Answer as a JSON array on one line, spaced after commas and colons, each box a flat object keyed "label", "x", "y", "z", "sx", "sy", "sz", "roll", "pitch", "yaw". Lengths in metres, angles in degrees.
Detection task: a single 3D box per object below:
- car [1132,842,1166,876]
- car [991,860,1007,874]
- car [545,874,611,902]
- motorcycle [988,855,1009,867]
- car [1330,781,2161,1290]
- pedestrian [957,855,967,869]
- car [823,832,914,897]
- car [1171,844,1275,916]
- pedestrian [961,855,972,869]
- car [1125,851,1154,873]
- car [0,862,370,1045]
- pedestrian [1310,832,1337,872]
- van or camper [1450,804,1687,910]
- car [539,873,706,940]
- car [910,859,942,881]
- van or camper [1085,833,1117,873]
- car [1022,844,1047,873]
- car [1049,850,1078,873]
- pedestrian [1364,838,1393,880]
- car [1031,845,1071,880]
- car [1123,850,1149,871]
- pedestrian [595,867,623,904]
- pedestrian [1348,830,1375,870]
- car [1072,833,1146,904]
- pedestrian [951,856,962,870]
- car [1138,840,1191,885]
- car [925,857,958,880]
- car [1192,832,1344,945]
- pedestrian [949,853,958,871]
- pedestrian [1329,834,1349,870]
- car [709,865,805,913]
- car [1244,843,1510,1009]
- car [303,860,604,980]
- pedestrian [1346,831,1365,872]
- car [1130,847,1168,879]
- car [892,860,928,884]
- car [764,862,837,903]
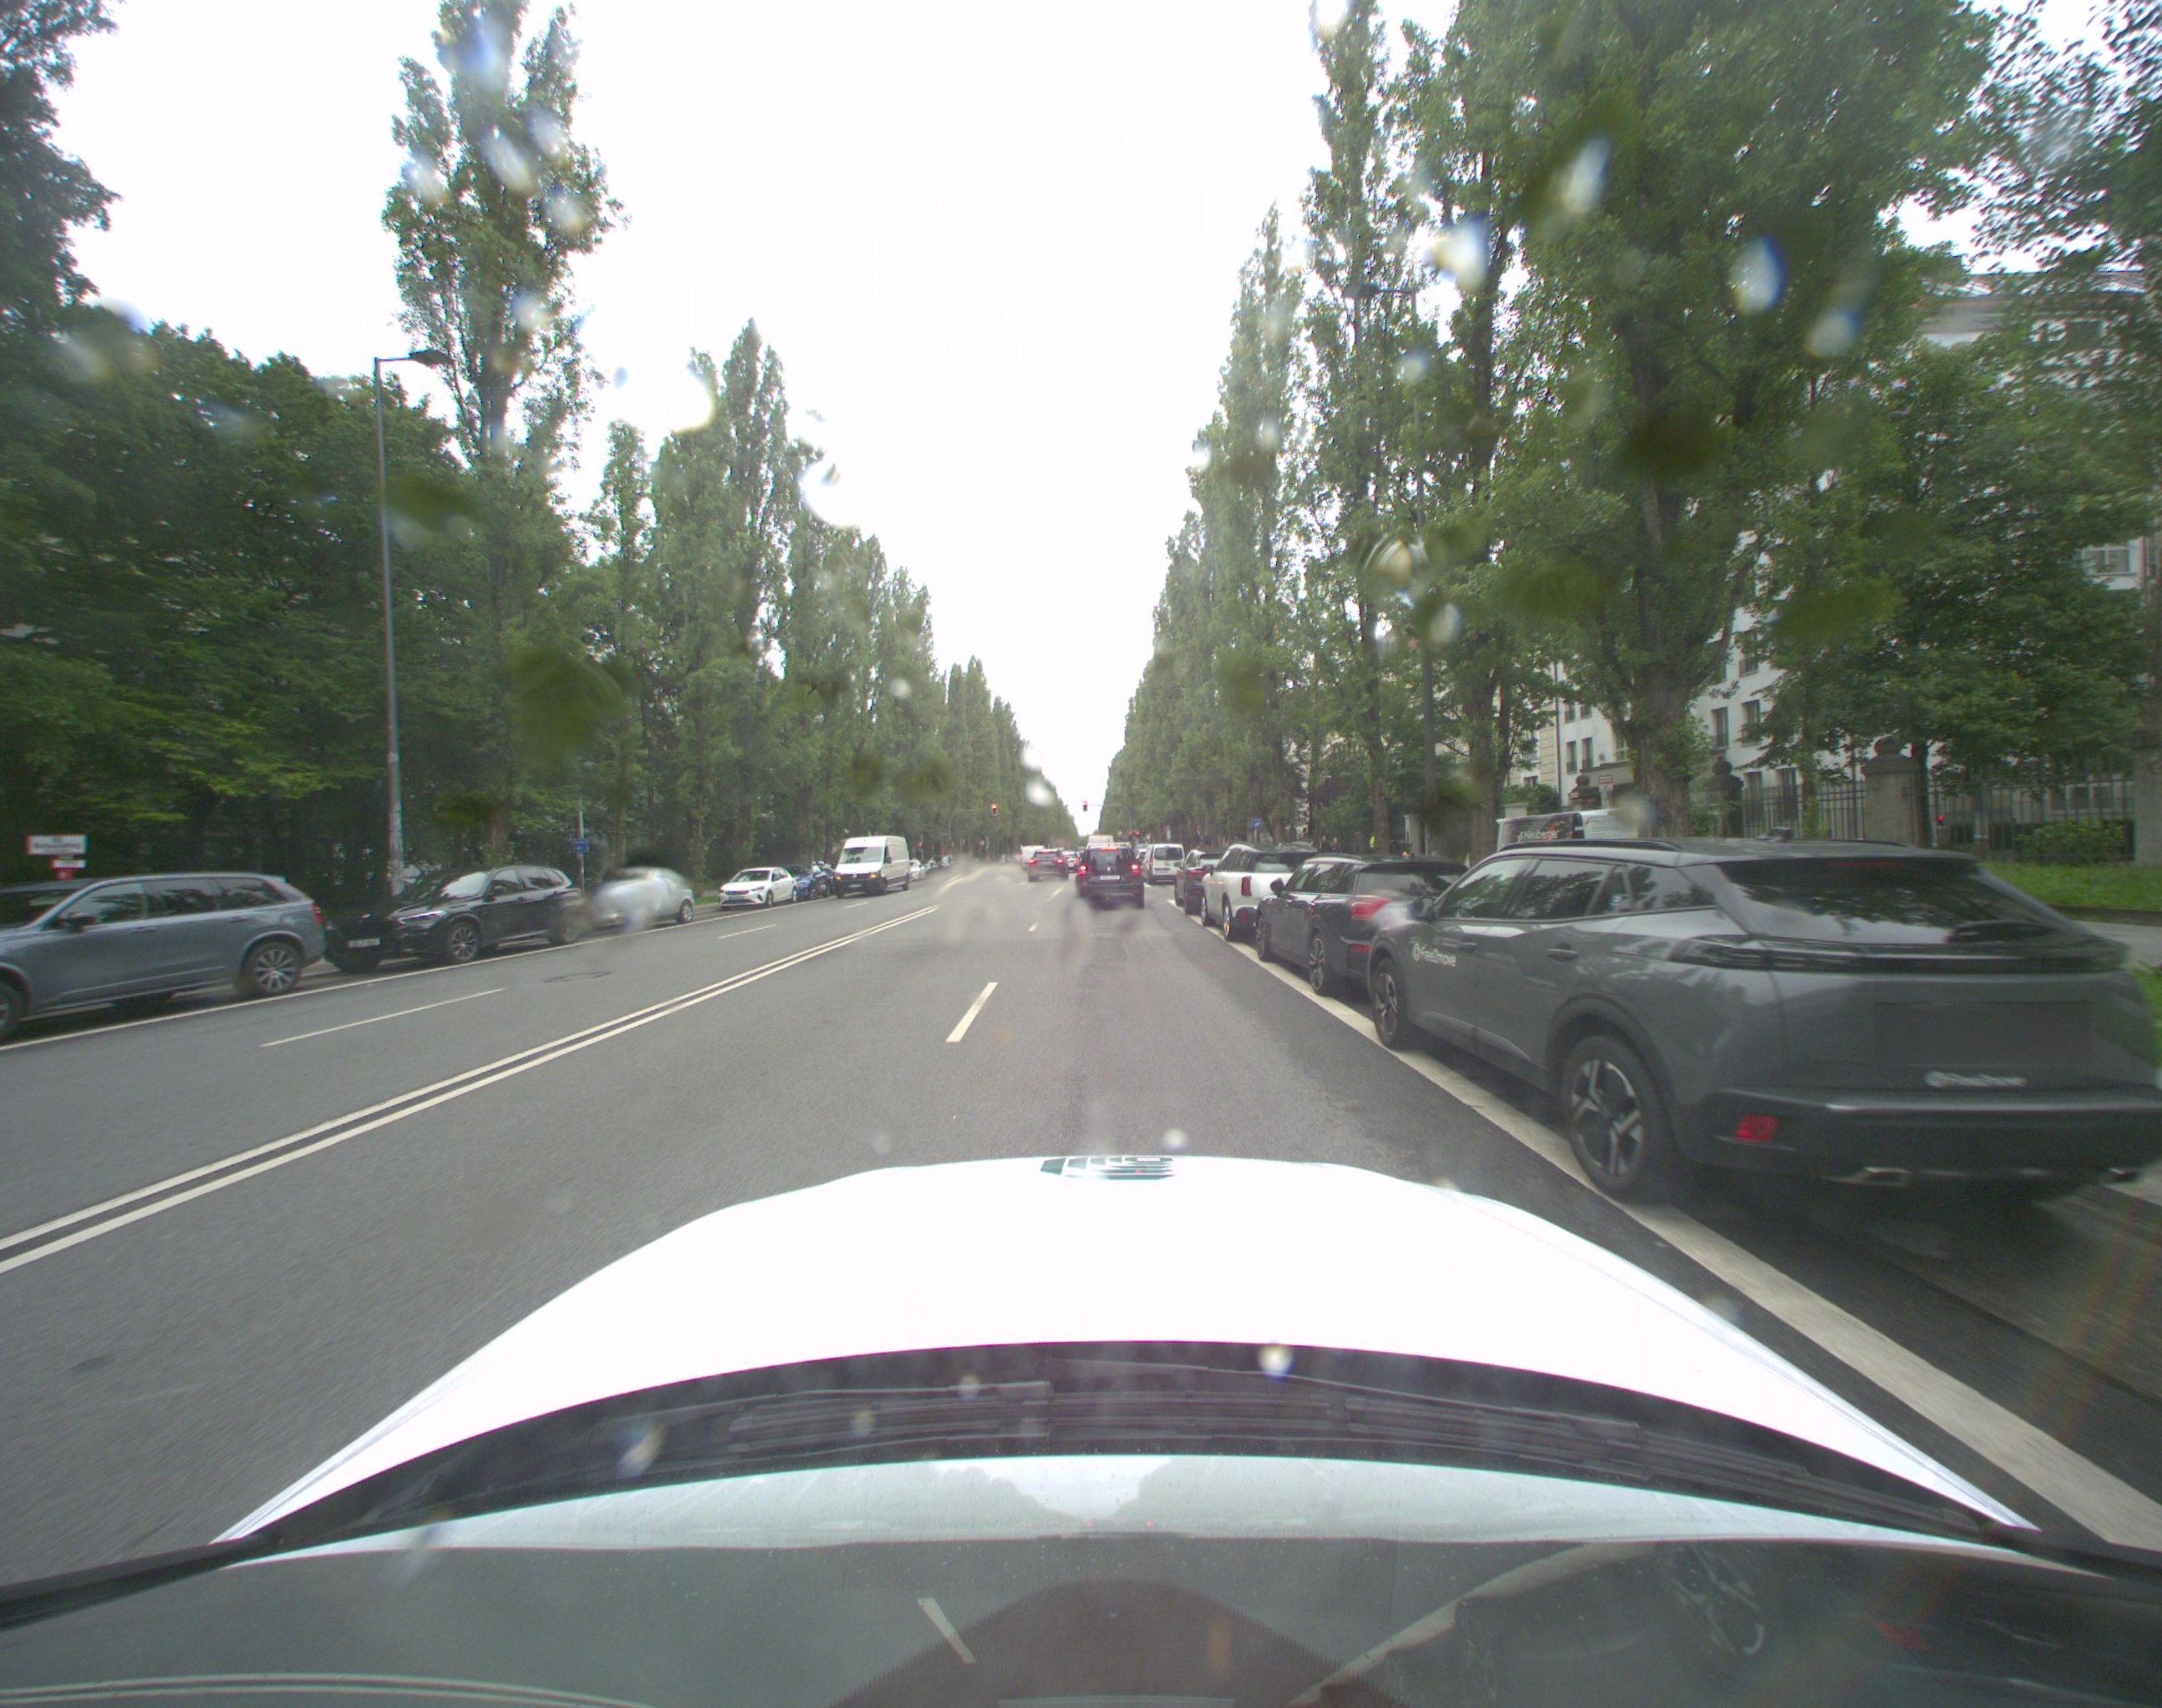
[{"label": "car", "x": 4.094, "y": 0.264, "z": 49.561, "sx": 1.729, "sy": 1.895, "sz": 4.025, "roll": -2, "pitch": 0, "yaw": 1}, {"label": "car", "x": -10.725, "y": 1.702, "z": 106.610, "sx": 1.682, "sy": 1.783, "sz": 3.776, "roll": -2, "pitch": 0, "yaw": 1}, {"label": "car", "x": -35.263, "y": 2.356, "z": 57.198, "sx": 1.986, "sy": 1.772, "sz": 4.002, "roll": -2, "pitch": 0, "yaw": 2}, {"label": "motorcycle", "x": -10.009, "y": 0.852, "z": 98.549, "sx": 2.355, "sy": 1.269, "sz": 0.930, "roll": -2, "pitch": 0, "yaw": 1}, {"label": "car", "x": 3.108, "y": 0.565, "z": 4.981, "sx": 1.777, "sy": 1.618, "sz": 4.638, "roll": -2, "pitch": 0, "yaw": 1}, {"label": "pedestrian", "x": -14.353, "y": 0.960, "z": 98.118, "sx": 0.887, "sy": 1.655, "sz": 0.868, "roll": -2, "pitch": 0, "yaw": -37}, {"label": "car", "x": -9.217, "y": 0.407, "z": 36.090, "sx": 2.221, "sy": 2.483, "sz": 6.755, "roll": -4, "pitch": 0, "yaw": -1}, {"label": "car", "x": 3.385, "y": 0.551, "z": 20.184, "sx": 1.873, "sy": 1.540, "sz": 4.466, "roll": -2, "pitch": 0, "yaw": 2}, {"label": "pedestrian", "x": -13.731, "y": 0.943, "z": 97.480, "sx": 0.887, "sy": 1.655, "sz": 0.868, "roll": -2, "pitch": 0, "yaw": -37}, {"label": "car", "x": 3.971, "y": 0.527, "z": 55.433, "sx": 1.729, "sy": 1.387, "sz": 3.563, "roll": -2, "pitch": 0, "yaw": 1}, {"label": "car", "x": -11.936, "y": 1.108, "z": 9.879, "sx": 1.903, "sy": 1.789, "sz": 5.180, "roll": -5, "pitch": 0, "yaw": 1}, {"label": "pedestrian", "x": 10.787, "y": -0.095, "z": 36.238, "sx": 0.850, "sy": 1.717, "sz": 0.867, "roll": -3, "pitch": 0, "yaw": 0}, {"label": "van or camper", "x": 10.266, "y": 0.038, "z": 17.802, "sx": 2.069, "sy": 1.933, "sz": 5.370, "roll": -1, "pitch": 0, "yaw": 1}, {"label": "car", "x": -11.770, "y": 1.290, "z": 21.277, "sx": 1.820, "sy": 1.334, "sz": 4.234, "roll": -4, "pitch": 0, "yaw": 1}, {"label": "car", "x": -11.476, "y": 1.168, "z": 60.537, "sx": 1.619, "sy": 1.389, "sz": 4.164, "roll": -4, "pitch": 0, "yaw": -1}, {"label": "van or camper", "x": 1.324, "y": -0.086, "z": 55.286, "sx": 1.969, "sy": 2.548, "sz": 4.023, "roll": -2, "pitch": 0, "yaw": -1}, {"label": "car", "x": -3.593, "y": 0.334, "z": 63.050, "sx": 1.777, "sy": 2.111, "sz": 4.022, "roll": -2, "pitch": 0, "yaw": -2}, {"label": "car", "x": -1.231, "y": 0.507, "z": 58.914, "sx": 1.987, "sy": 1.560, "sz": 4.000, "roll": -2, "pitch": 1, "yaw": 0}, {"label": "pedestrian", "x": 13.439, "y": 0.206, "z": 36.761, "sx": 0.905, "sy": 1.800, "sz": 0.825, "roll": -3, "pitch": 2, "yaw": -20}, {"label": "car", "x": -1.513, "y": 0.402, "z": 42.206, "sx": 1.775, "sy": 1.620, "sz": 4.025, "roll": -4, "pitch": 0, "yaw": 1}, {"label": "car", "x": 4.057, "y": 0.483, "z": 60.939, "sx": 1.729, "sy": 1.475, "sz": 3.563, "roll": -2, "pitch": 0, "yaw": 1}, {"label": "pedestrian", "x": -21.155, "y": 1.396, "z": 36.522, "sx": 0.734, "sy": 1.599, "sz": 0.881, "roll": -1, "pitch": 0, "yaw": 2}, {"label": "pedestrian", "x": 12.957, "y": -0.186, "z": 37.691, "sx": 0.801, "sy": 1.781, "sz": 0.816, "roll": -2, "pitch": 0, "yaw": -16}, {"label": "car", "x": 0.754, "y": 0.361, "z": 22.327, "sx": 1.849, "sy": 1.770, "sz": 4.001, "roll": 0, "pitch": 0, "yaw": 1}, {"label": "pedestrian", "x": -15.132, "y": 1.073, "z": 99.056, "sx": 0.887, "sy": 1.655, "sz": 0.868, "roll": -2, "pitch": 0, "yaw": -37}, {"label": "car", "x": 3.722, "y": 0.358, "z": 37.078, "sx": 1.846, "sy": 1.881, "sz": 4.166, "roll": -2, "pitch": 0, "yaw": -1}, {"label": "car", "x": -11.319, "y": 1.136, "z": 66.486, "sx": 1.844, "sy": 1.654, "sz": 4.693, "roll": -4, "pitch": 0, "yaw": -1}, {"label": "car", "x": 3.195, "y": 0.507, "z": 14.810, "sx": 1.737, "sy": 1.675, "sz": 4.580, "roll": -2, "pitch": 0, "yaw": 1}, {"label": "pedestrian", "x": -11.456, "y": 0.740, "z": 73.111, "sx": 0.658, "sy": 1.577, "sz": 0.530, "roll": -2, "pitch": 0, "yaw": 1}, {"label": "pedestrian", "x": 11.486, "y": -0.092, "z": 36.261, "sx": 0.566, "sy": 1.578, "sz": 0.867, "roll": -2, "pitch": 0, "yaw": 1}, {"label": "car", "x": -11.835, "y": 1.217, "z": 30.099, "sx": 1.765, "sy": 1.452, "sz": 4.232, "roll": -4, "pitch": 0, "yaw": 0}, {"label": "car", "x": 3.238, "y": 0.665, "z": 9.878, "sx": 1.697, "sy": 1.519, "sz": 4.296, "roll": -2, "pitch": 0, "yaw": 1}, {"label": "car", "x": -11.706, "y": 1.100, "z": 15.793, "sx": 1.935, "sy": 1.767, "sz": 4.894, "roll": -4, "pitch": 0, "yaw": 0}, {"label": "pedestrian", "x": 12.791, "y": -0.107, "z": 37.907, "sx": 0.487, "sy": 1.862, "sz": 0.635, "roll": -2, "pitch": 0, "yaw": -16}, {"label": "car", "x": 3.643, "y": 0.446, "z": 44.289, "sx": 1.735, "sy": 1.593, "sz": 4.212, "roll": -2, "pitch": 0, "yaw": 1}, {"label": "car", "x": -11.467, "y": 1.163, "z": 54.980, "sx": 1.619, "sy": 1.389, "sz": 4.163, "roll": -4, "pitch": 0, "yaw": -2}, {"label": "car", "x": -11.687, "y": 1.168, "z": 34.175, "sx": 1.704, "sy": 1.451, "sz": 3.585, "roll": -5, "pitch": 0, "yaw": -1}]
